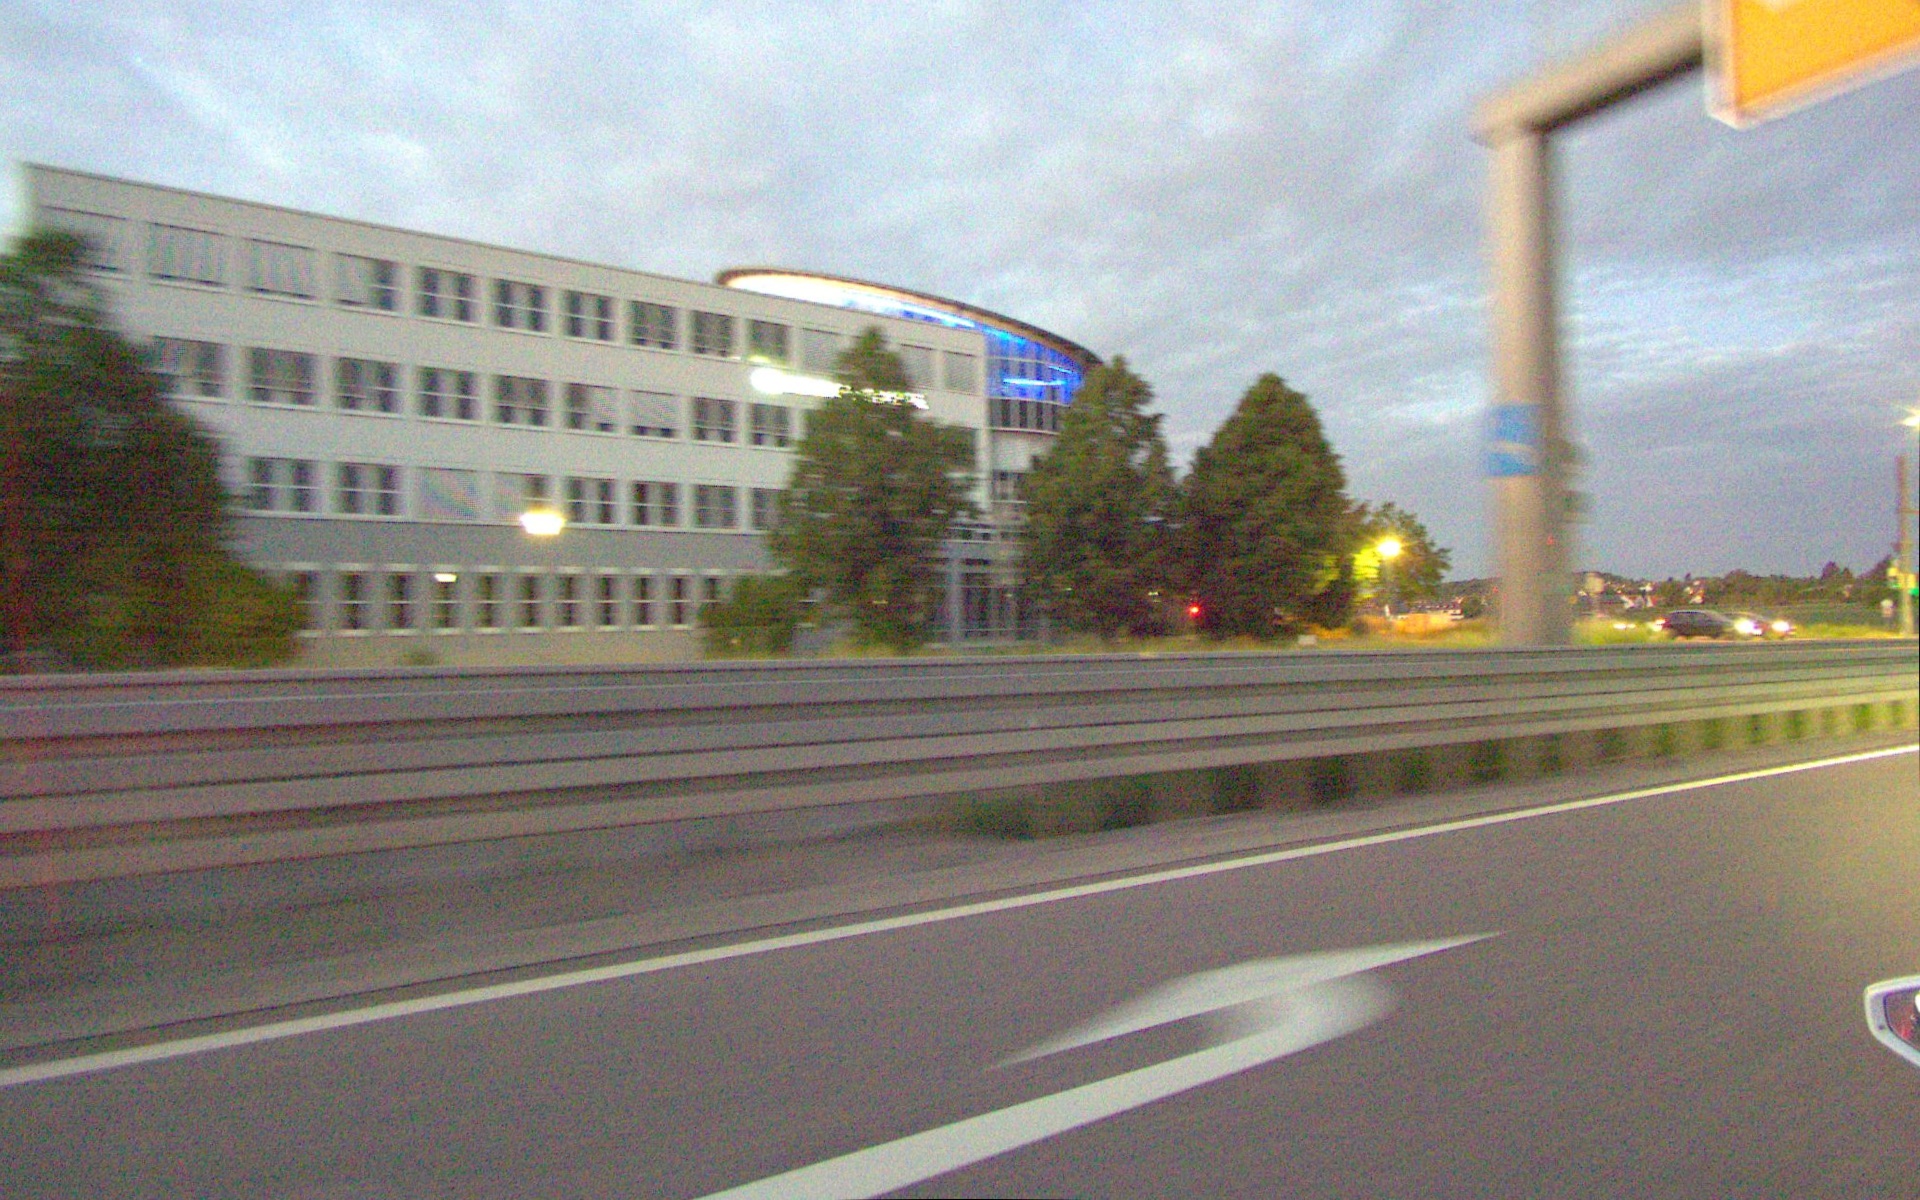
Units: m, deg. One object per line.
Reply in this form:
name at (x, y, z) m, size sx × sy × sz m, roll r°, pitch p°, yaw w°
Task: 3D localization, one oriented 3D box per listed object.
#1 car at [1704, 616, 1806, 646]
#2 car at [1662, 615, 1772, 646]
car at (42.948, 1.680, 54.353) m, size 1.709 × 1.558 × 4.022 m, roll 1°, pitch -2°, yaw -30°
car at (39.818, 1.628, 52.956) m, size 1.708 × 1.558 × 4.296 m, roll 0°, pitch -2°, yaw -28°
